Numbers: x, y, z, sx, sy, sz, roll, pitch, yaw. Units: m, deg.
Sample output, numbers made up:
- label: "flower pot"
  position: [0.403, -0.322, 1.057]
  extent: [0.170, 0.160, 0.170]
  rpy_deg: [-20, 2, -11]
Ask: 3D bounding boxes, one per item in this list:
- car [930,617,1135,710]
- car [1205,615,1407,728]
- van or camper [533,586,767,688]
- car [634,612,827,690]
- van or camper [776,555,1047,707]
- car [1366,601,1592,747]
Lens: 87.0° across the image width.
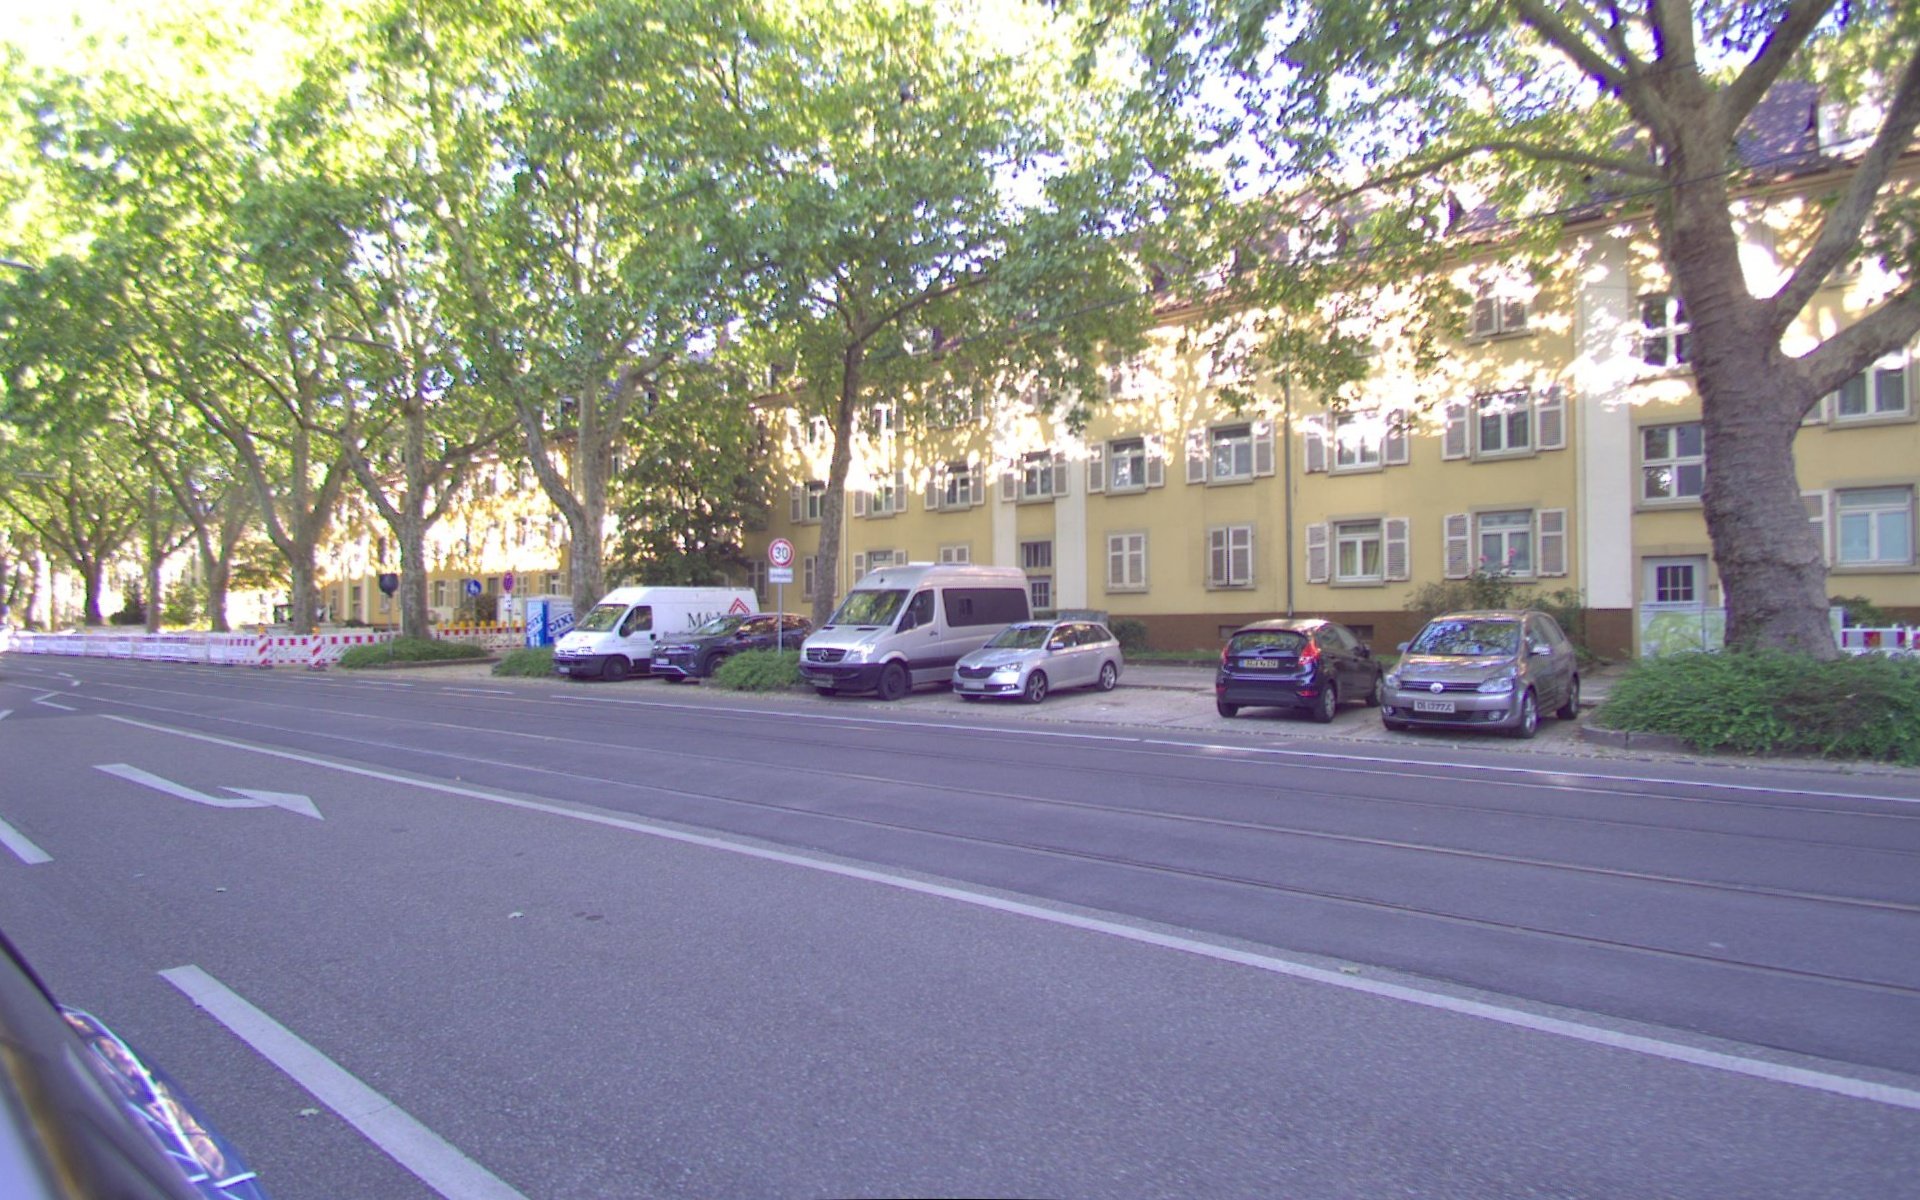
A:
- label: "car"
  position: [1.483, 1.103, 19.213]
  extent: [1.693, 1.457, 4.221]
  rpy_deg: [-1, 0, 41]
- label: "car"
  position: [5.504, 1.004, 15.824]
  extent: [1.693, 1.457, 3.811]
  rpy_deg: [-1, 0, 41]
- label: "van or camper"
  position: [-8.024, 0.852, 26.756]
  extent: [2.154, 2.403, 5.691]
  rpy_deg: [-1, 0, 40]
- label: "car"
  position: [-5.504, 1.162, 24.751]
  extent: [1.693, 1.645, 4.482]
  rpy_deg: [-1, 0, 41]
- label: "van or camper"
  position: [-0.790, 0.521, 20.764]
  extent: [2.154, 2.668, 5.857]
  rpy_deg: [-1, 0, 40]
- label: "car"
  position: [7.164, 0.862, 13.767]
  extent: [1.843, 1.631, 4.028]
  rpy_deg: [-1, 0, 41]
